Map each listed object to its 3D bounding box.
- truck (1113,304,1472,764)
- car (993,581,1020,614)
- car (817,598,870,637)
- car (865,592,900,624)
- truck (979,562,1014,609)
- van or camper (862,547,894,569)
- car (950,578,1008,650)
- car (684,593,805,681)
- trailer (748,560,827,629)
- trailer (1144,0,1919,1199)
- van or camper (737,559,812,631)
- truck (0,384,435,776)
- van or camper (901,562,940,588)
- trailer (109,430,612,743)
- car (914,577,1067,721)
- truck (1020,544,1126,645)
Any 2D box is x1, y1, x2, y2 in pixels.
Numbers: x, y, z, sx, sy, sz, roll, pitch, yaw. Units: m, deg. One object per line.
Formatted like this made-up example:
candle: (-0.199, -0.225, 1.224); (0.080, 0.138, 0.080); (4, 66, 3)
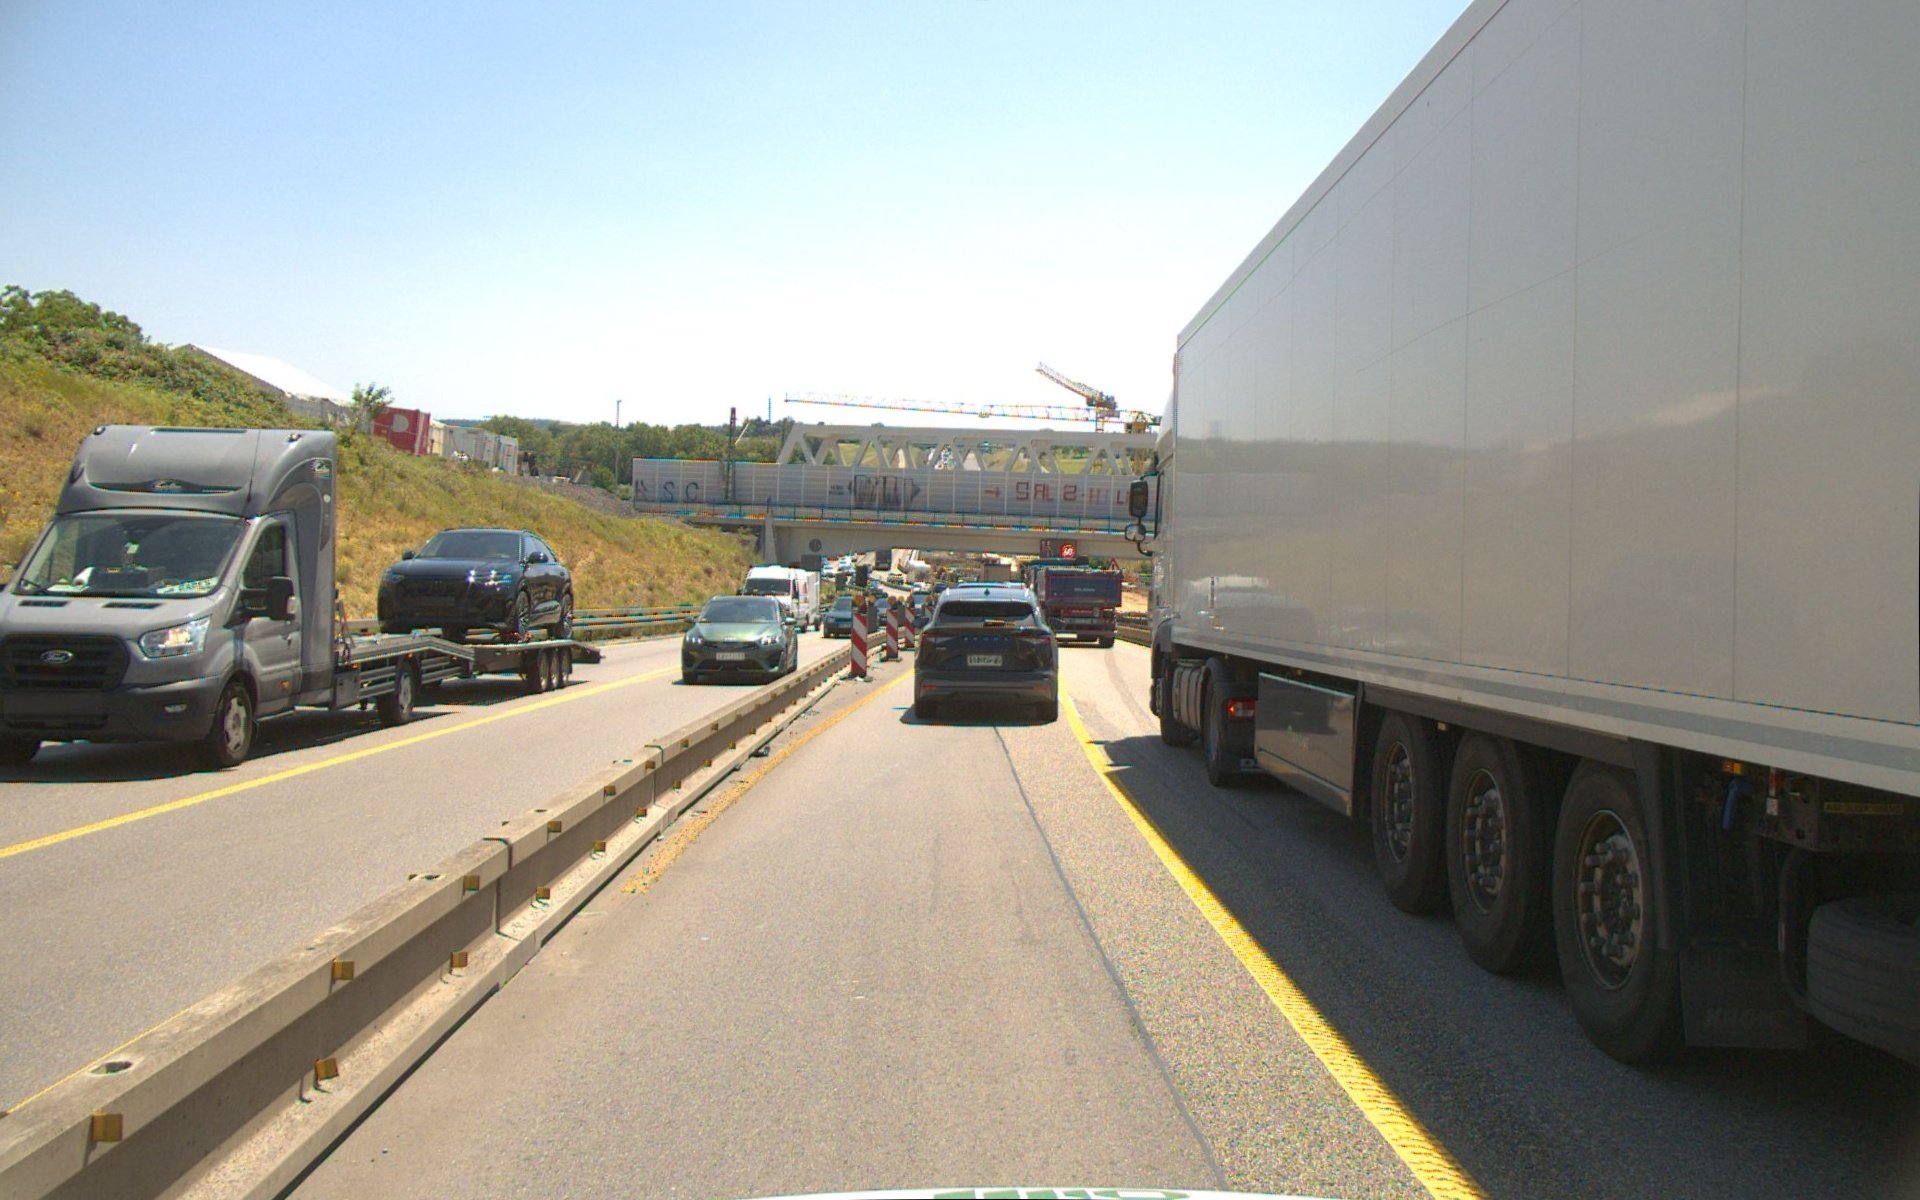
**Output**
truck: (3.239, -0.603, 17.420); (2.720, 4.129, 4.904); (1, 0, -1)
car: (3.358, -0.192, 120.090); (1.628, 2.309, 3.794); (2, 0, -3)
car: (-4.073, 0.597, 58.237); (1.577, 1.298, 3.167); (1, 0, 0)
car: (-3.629, 0.372, 77.652); (1.470, 1.445, 3.176); (1, 0, 0)
truck: (3.481, -1.421, 160.212); (3.111, 4.393, 9.256); (1, 0, 0)
van or camper: (-13.146, -6.658, 263.722); (3.873, 3.479, 8.382); (1, 1, -12)
car: (0.526, 0.347, 44.879); (1.444, 1.826, 3.298); (3, 0, 1)
car: (-3.737, 0.602, 29.265); (1.632, 1.453, 4.000); (0, 0, 0)
trailer: (-6.794, -0.202, 66.208); (2.170, 2.524, 8.527); (1, 0, 0)
trailer: (3.293, -0.579, 9.389); (2.744, 4.129, 14.115); (1, 0, -1)
van or camper: (-6.834, -0.187, 61.555); (2.170, 2.524, 4.751); (1, 0, 0)
truck: (-6.900, -0.166, 15.391); (2.222, 2.932, 5.850); (1, 0, -1)
van or camper: (-5.510, -3.440, 229.396); (3.873, 3.479, 8.382); (1, 1, -12)
trailer: (-7.048, -0.152, 22.196); (2.222, 2.932, 13.039); (1, 0, -1)
car: (0.315, 0.577, 21.153); (1.764, 1.649, 3.296); (1, 0, -2)
truck: (3.848, -0.214, 59.430); (2.757, 3.189, 12.836); (1, 0, -1)
